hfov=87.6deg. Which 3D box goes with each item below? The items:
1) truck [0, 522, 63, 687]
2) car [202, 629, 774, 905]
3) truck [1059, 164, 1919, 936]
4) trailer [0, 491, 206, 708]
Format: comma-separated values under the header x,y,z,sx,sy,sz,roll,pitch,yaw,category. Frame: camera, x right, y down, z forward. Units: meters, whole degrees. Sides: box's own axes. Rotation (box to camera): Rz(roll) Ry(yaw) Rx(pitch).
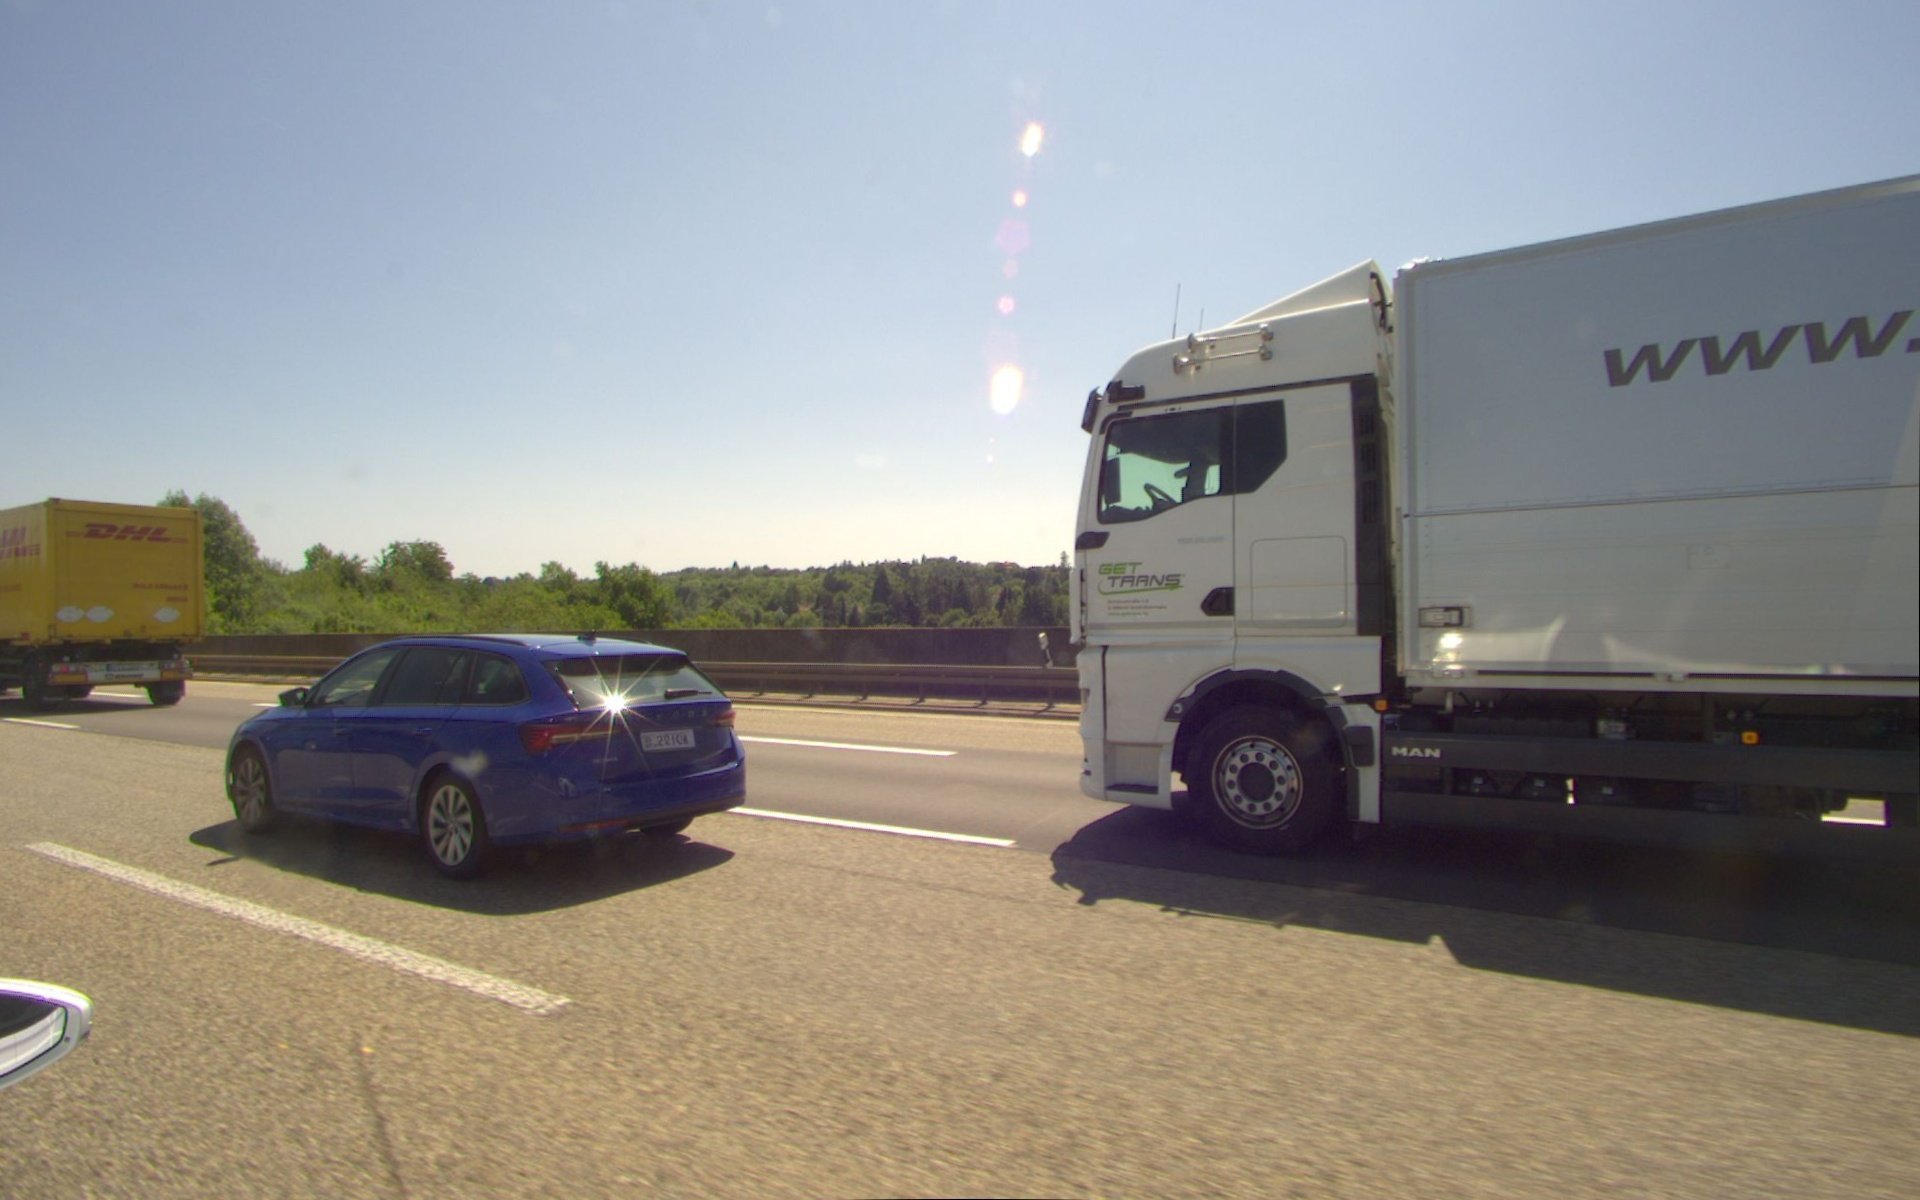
x,y,z,sx,sy,sz,roll,pitch,yaw,category
-28.230,0.265,27.575,10.192,4.106,2.717,-2,-2,33,truck
-3.576,0.956,7.283,4.437,1.459,1.706,-1,-1,33,car
5.924,-0.212,5.526,10.616,3.648,2.846,-1,-2,33,truck
-20.279,0.160,22.345,8.807,4.074,2.696,-2,-2,33,trailer
